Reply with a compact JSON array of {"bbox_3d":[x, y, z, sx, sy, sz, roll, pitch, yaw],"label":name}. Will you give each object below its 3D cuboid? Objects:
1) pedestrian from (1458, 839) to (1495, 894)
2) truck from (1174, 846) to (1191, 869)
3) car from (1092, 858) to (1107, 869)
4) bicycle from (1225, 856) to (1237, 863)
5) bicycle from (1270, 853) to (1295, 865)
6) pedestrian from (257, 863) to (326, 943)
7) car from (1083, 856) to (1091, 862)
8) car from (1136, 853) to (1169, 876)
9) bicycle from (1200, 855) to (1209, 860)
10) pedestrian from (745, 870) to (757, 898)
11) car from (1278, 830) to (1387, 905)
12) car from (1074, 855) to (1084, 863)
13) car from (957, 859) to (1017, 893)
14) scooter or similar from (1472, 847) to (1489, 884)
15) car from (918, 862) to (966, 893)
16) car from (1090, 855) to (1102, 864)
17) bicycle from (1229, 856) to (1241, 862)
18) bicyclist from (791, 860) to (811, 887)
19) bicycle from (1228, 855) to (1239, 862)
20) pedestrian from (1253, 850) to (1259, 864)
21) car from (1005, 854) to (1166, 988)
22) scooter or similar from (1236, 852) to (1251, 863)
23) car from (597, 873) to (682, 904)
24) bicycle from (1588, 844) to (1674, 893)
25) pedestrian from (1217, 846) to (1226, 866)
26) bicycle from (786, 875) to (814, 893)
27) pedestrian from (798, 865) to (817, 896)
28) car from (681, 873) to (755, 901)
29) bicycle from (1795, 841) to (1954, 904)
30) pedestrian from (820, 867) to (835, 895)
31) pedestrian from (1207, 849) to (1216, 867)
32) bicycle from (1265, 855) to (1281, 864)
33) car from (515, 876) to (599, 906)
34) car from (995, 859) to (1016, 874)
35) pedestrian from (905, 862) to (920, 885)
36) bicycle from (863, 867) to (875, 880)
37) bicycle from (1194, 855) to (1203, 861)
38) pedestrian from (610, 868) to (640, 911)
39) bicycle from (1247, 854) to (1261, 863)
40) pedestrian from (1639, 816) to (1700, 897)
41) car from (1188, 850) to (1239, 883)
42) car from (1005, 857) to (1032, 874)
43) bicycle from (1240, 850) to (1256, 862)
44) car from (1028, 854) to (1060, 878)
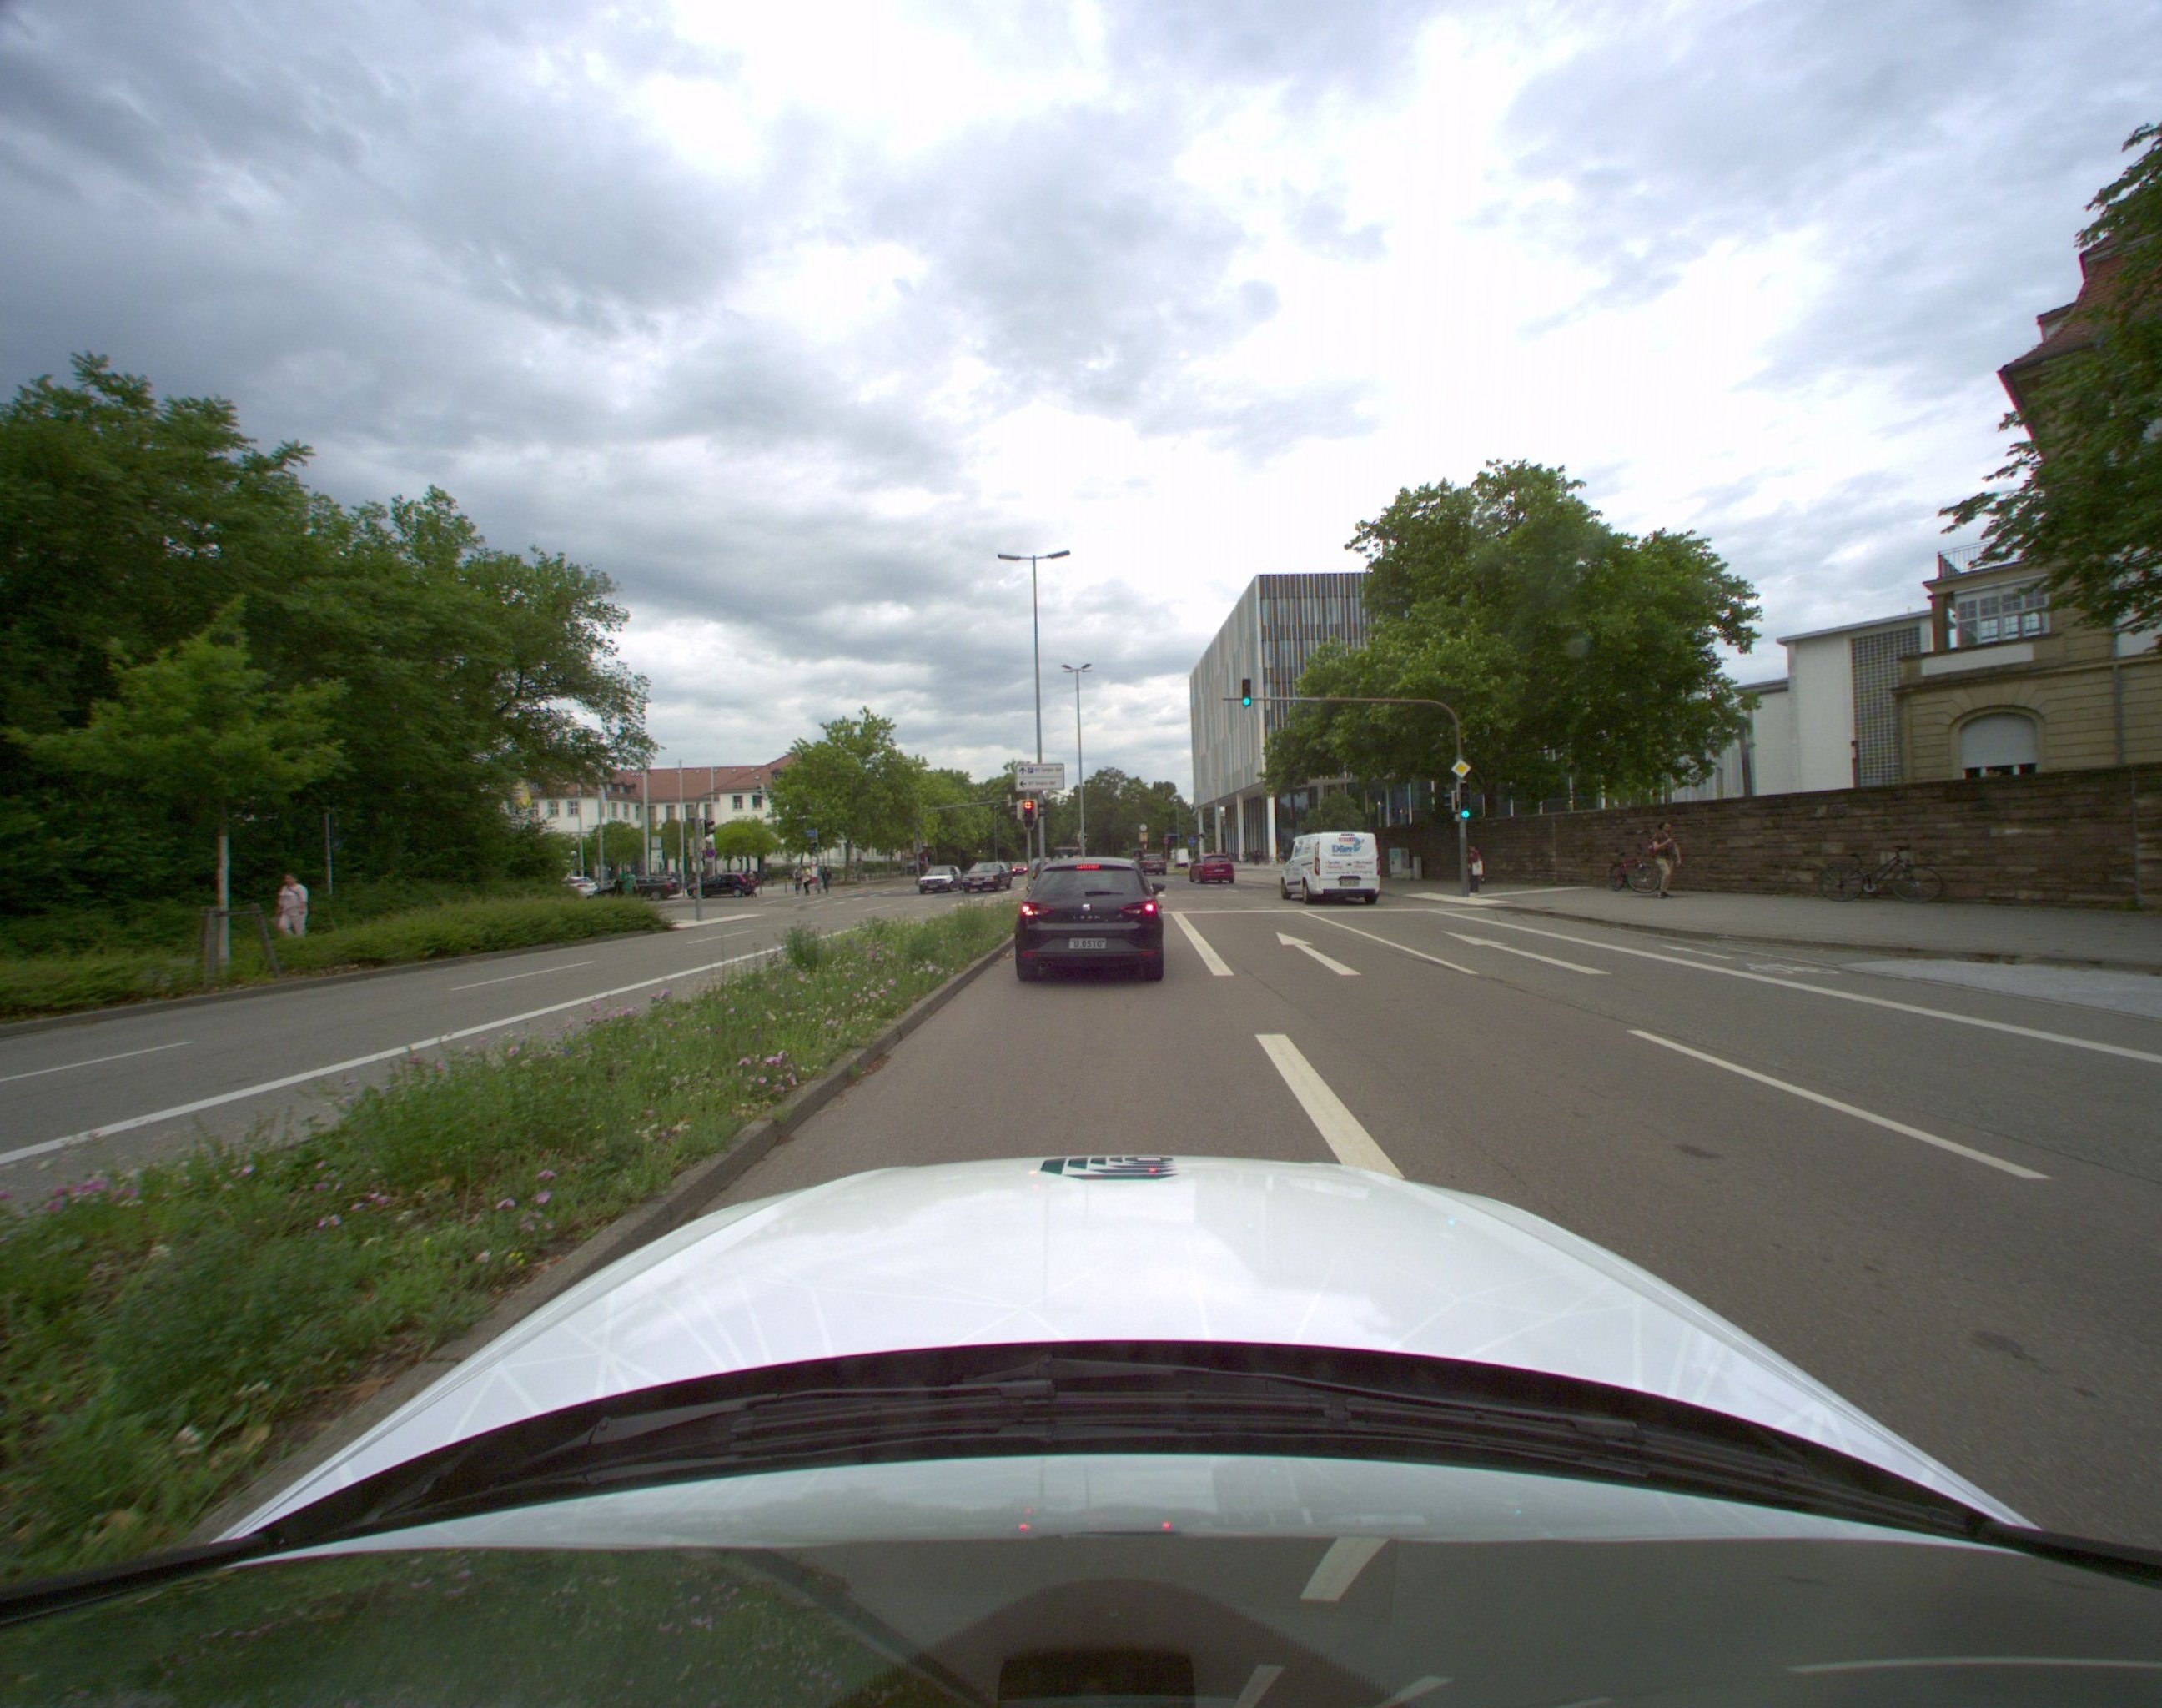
[{"bbox_3d":[11.887,0.368,24.479,0.657,1.561,0.636,-6,0,3],"label":"pedestrian"},{"bbox_3d":[10.117,0.326,81.545,1.312,2.243,3.404,-3,0,3],"label":"truck"},{"bbox_3d":[2.527,1.304,111.358,1.893,1.354,3.881,-3,0,0],"label":"car"},{"bbox_3d":[18.092,0.643,98.193,1.365,0.705,0.490,-3,0,11],"label":"bicycle"},{"bbox_3d":[16.928,0.444,68.396,1.891,0.898,0.693,-3,0,-18],"label":"bicycle"},{"bbox_3d":[-16.742,1.024,17.283,0.697,1.636,0.672,-3,0,2],"label":"pedestrian"},{"bbox_3d":[1.239,1.048,173.474,1.500,1.193,3.162,-3,0,0],"label":"car"},{"bbox_3d":[5.741,0.814,65.847,1.912,1.664,4.106,-3,0,-6],"label":"car"},{"bbox_3d":[18.073,0.518,119.188,1.238,0.823,0.479,1,-1,-19],"label":"bicycle"},{"bbox_3d":[-19.188,1.759,47.327,0.572,1.527,0.843,-2,-5,-21],"label":"pedestrian"},{"bbox_3d":[7.189,0.349,23.751,1.959,1.972,4.346,0,0,2],"label":"car"},{"bbox_3d":[-0.491,1.049,163.151,1.692,1.503,4.005,-3,0,-3],"label":"car"},{"bbox_3d":[-4.549,1.029,40.156,1.754,1.460,4.801,-4,-1,7],"label":"car"},{"bbox_3d":[14.055,0.388,28.621,0.428,1.179,1.714,-4,0,27],"label":"scooter or similar"},{"bbox_3d":[-7.224,1.204,42.606,1.601,1.381,3.812,-3,0,3],"label":"car"},{"bbox_3d":[2.297,0.868,126.384,1.611,1.354,3.999,-3,0,0],"label":"car"},{"bbox_3d":[18.258,0.611,96.385,1.367,0.705,0.417,-3,0,5],"label":"bicycle"},{"bbox_3d":[-17.132,1.212,49.769,0.949,1.635,0.672,-1,-1,24],"label":"bicyclist"},{"bbox_3d":[18.704,0.570,99.742,1.265,0.705,0.486,-3,0,10],"label":"bicycle"},{"bbox_3d":[17.374,0.285,80.920,0.469,1.361,0.447,-3,0,13],"label":"pedestrian"},{"bbox_3d":[0.222,0.727,10.722,1.744,1.432,3.775,-1,0,5],"label":"car"},{"bbox_3d":[18.090,0.350,90.500,1.681,1.106,0.494,-3,0,-29],"label":"scooter or similar"},{"bbox_3d":[-26.181,2.049,48.421,4.057,1.452,1.616,-2,5,-15],"label":"car"},{"bbox_3d":[14.365,0.361,21.350,0.801,1.174,1.953,-5,0,-2],"label":"bicycle"},{"bbox_3d":[12.776,0.212,74.089,0.684,1.781,0.678,-2,0,3],"label":"pedestrian"},{"bbox_3d":[-17.171,1.817,49.797,1.599,1.062,0.672,-1,-1,24],"label":"bicycle"},{"bbox_3d":[-16.082,1.548,47.889,0.845,1.740,0.822,-1,-5,-32],"label":"pedestrian"},{"bbox_3d":[-21.863,1.960,49.195,3.647,1.223,1.562,-4,7,-3],"label":"car"},{"bbox_3d":[15.092,0.343,15.574,0.940,1.073,1.961,-4,0,-12],"label":"bicycle"},{"bbox_3d":[-14.680,1.568,47.193,0.791,1.558,0.695,-1,-4,-17],"label":"pedestrian"},{"bbox_3d":[11.871,0.389,74.114,0.684,1.640,0.633,-1,0,3],"label":"pedestrian"},{"bbox_3d":[19.281,0.545,81.801,1.475,0.748,0.566,-3,0,-1],"label":"bicycle"},{"bbox_3d":[-31.496,2.186,49.028,3.866,1.539,1.685,-2,2,-1],"label":"car"},{"bbox_3d":[-9.322,1.529,100.431,1.899,1.717,4.003,-3,0,3],"label":"car"},{"bbox_3d":[-12.314,1.427,59.466,0.873,1.586,0.543,-3,0,-4],"label":"pedestrian"},{"bbox_3d":[-19.083,1.726,73.374,0.606,1.060,2.042,-3,0,-3],"label":"bicycle"},{"bbox_3d":[17.512,0.566,121.219,1.262,0.848,0.479,1,-1,-19],"label":"bicycle"},{"bbox_3d":[-19.057,1.477,34.026,0.948,1.759,0.865,1,-2,-41],"label":"pedestrian"},{"bbox_3d":[18.714,0.455,88.182,1.444,0.857,0.362,-3,0,-24],"label":"bicycle"},{"bbox_3d":[13.734,0.053,19.031,0.628,1.821,1.033,-3,0,3],"label":"pedestrian"},{"bbox_3d":[7.093,0.634,44.029,1.945,1.624,3.744,-1,1,-4],"label":"car"},{"bbox_3d":[-5.923,1.102,77.636,1.705,1.418,4.301,-3,0,5],"label":"car"},{"bbox_3d":[18.462,0.215,89.905,1.784,1.211,0.564,-3,0,-31],"label":"bicycle"},{"bbox_3d":[-2.807,0.889,62.690,1.913,1.664,4.402,-4,-1,3],"label":"car"}]
